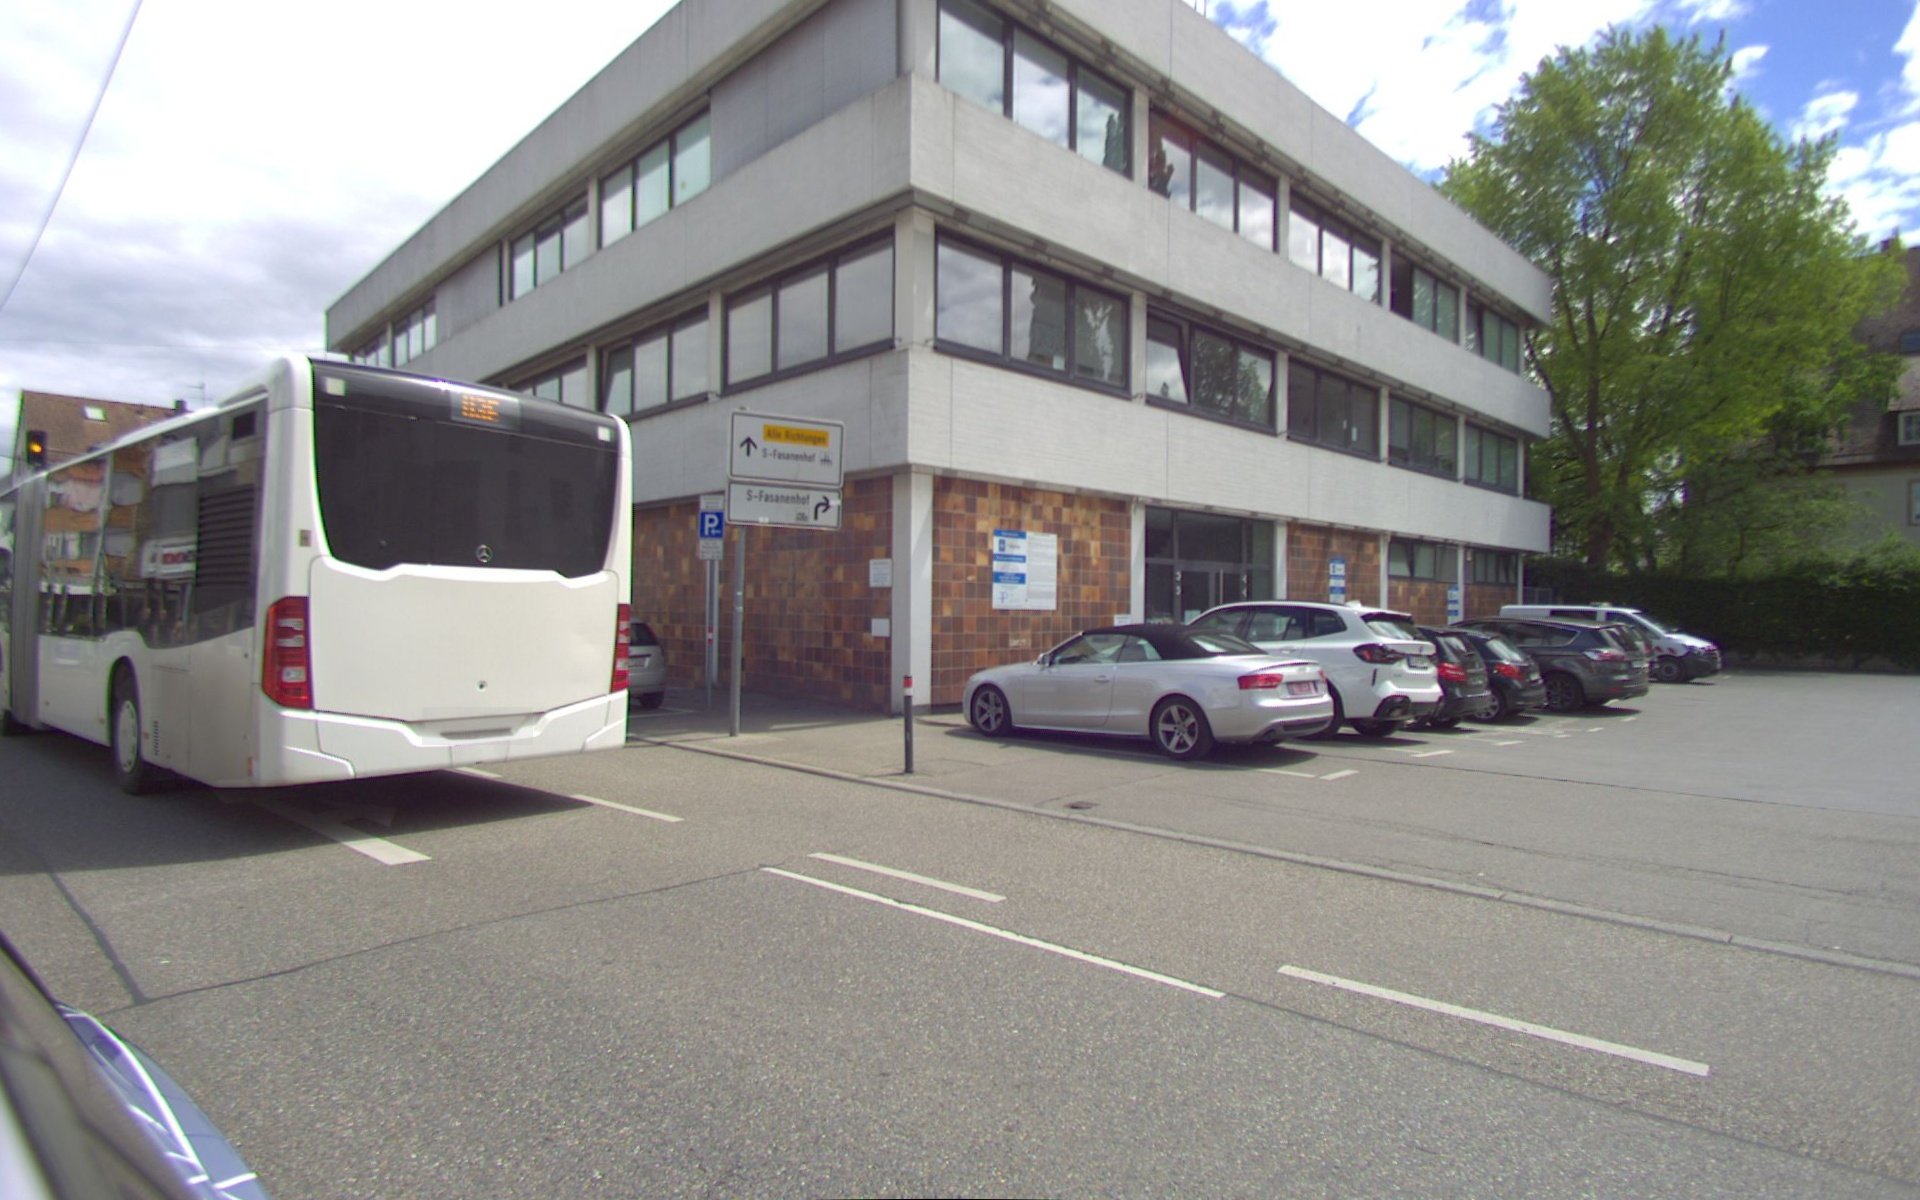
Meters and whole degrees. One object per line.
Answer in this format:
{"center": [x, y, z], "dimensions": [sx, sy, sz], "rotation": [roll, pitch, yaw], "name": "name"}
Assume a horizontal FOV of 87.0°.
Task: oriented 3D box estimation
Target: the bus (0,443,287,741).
{"center": [-13.314, -0.037, 15.111], "dimensions": [10.176, 3.188, 2.655], "rotation": [0, -1, 40], "name": "bus"}

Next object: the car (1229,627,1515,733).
{"center": [6.092, 1.103, 15.193], "dimensions": [3.605, 1.341, 1.743], "rotation": [-1, -2, 44], "name": "car"}

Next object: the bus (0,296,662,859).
{"center": [-6.290, -0.091, 9.318], "dimensions": [8.059, 3.188, 2.689], "rotation": [0, -1, 39], "name": "bus"}

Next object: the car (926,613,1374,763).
{"center": [1.955, 0.836, 11.658], "dimensions": [1.929, 1.368, 4.858], "rotation": [1, -1, -45], "name": "car"}

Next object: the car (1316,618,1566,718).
{"center": [8.326, 1.099, 17.688], "dimensions": [3.605, 1.558, 1.743], "rotation": [-1, -2, 44], "name": "car"}

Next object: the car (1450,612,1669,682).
{"center": [13.739, 1.026, 23.352], "dimensions": [1.824, 1.472, 4.004], "rotation": [1, -1, -43], "name": "car"}

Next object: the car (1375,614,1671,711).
{"center": [10.409, 1.085, 18.962], "dimensions": [4.498, 1.590, 1.900], "rotation": [-1, -2, 45], "name": "car"}

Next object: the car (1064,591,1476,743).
{"center": [3.881, 0.817, 13.416], "dimensions": [1.927, 1.632, 4.935], "rotation": [4, -4, -42], "name": "car"}

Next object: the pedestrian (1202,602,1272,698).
{"center": [5.001, 0.887, 18.277], "dimensions": [0.709, 1.684, 0.996], "rotation": [3, -3, -43], "name": "pedestrian"}

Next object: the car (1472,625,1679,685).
{"center": [15.031, 1.285, 24.848], "dimensions": [1.824, 1.304, 4.004], "rotation": [1, -1, -43], "name": "car"}

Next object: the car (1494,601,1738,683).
{"center": [17.167, 1.030, 26.700], "dimensions": [1.944, 1.956, 5.094], "rotation": [1, -1, -43], "name": "car"}

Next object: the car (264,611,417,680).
{"center": [-14.968, 1.020, 24.337], "dimensions": [4.954, 1.455, 2.021], "rotation": [-1, 0, 45], "name": "car"}
